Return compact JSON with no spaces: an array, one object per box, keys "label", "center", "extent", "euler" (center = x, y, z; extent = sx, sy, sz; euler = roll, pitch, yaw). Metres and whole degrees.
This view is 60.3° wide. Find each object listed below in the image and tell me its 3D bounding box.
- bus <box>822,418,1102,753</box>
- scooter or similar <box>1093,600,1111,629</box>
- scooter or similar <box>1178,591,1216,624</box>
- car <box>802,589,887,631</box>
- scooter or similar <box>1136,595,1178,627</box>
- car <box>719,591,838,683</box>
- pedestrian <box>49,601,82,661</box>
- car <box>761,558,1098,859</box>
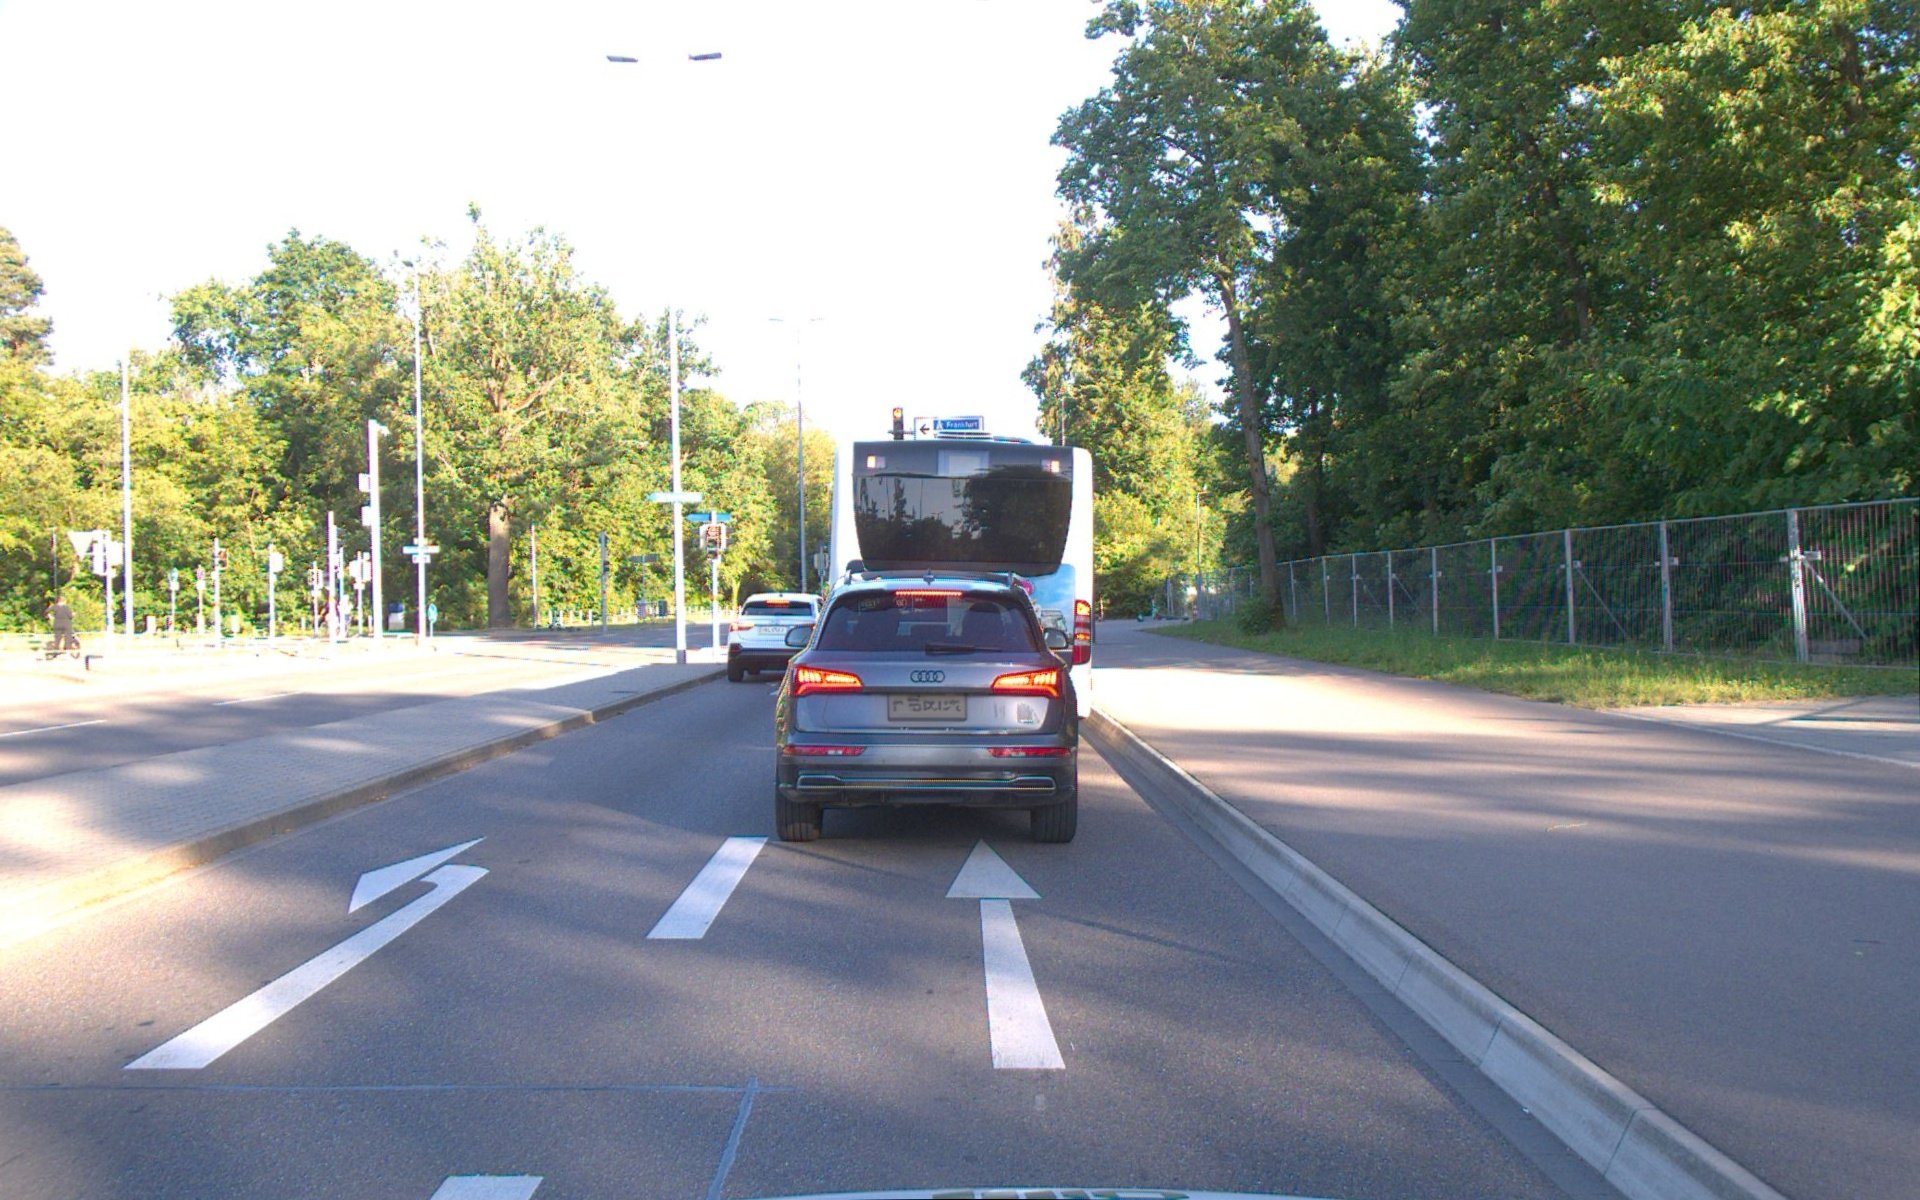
[{"label":"bus","center":[-0.046,-0.096,19.718],"extent":[2.542,3.041,9.324],"euler":[0,0,-1]},{"label":"scooter or similar","center":[7.171,0.727,83.642],"extent":[0.498,1.469,2.020],"euler":[-2,0,-6]},{"label":"scooter or similar","center":[11.778,0.375,82.381],"extent":[0.535,1.594,1.993],"euler":[-2,0,-40]},{"label":"car","center":[-4.382,0.359,63.599],"extent":[1.951,1.524,4.793],"euler":[-2,0,12]},{"label":"scooter or similar","center":[9.658,0.541,81.057],"extent":[1.991,1.469,0.601],"euler":[-2,0,-26]},{"label":"car","center":[-3.253,0.628,30.314],"extent":[1.799,1.545,3.999],"euler":[-1,0,-1]},{"label":"pedestrian","center":[-24.178,0.828,44.711],"extent":[0.643,1.587,0.531],"euler":[-1,0,-43]},{"label":"car","center":[-0.197,0.602,11.214],"extent":[1.860,1.660,3.999],"euler":[1,0,-1]}]
